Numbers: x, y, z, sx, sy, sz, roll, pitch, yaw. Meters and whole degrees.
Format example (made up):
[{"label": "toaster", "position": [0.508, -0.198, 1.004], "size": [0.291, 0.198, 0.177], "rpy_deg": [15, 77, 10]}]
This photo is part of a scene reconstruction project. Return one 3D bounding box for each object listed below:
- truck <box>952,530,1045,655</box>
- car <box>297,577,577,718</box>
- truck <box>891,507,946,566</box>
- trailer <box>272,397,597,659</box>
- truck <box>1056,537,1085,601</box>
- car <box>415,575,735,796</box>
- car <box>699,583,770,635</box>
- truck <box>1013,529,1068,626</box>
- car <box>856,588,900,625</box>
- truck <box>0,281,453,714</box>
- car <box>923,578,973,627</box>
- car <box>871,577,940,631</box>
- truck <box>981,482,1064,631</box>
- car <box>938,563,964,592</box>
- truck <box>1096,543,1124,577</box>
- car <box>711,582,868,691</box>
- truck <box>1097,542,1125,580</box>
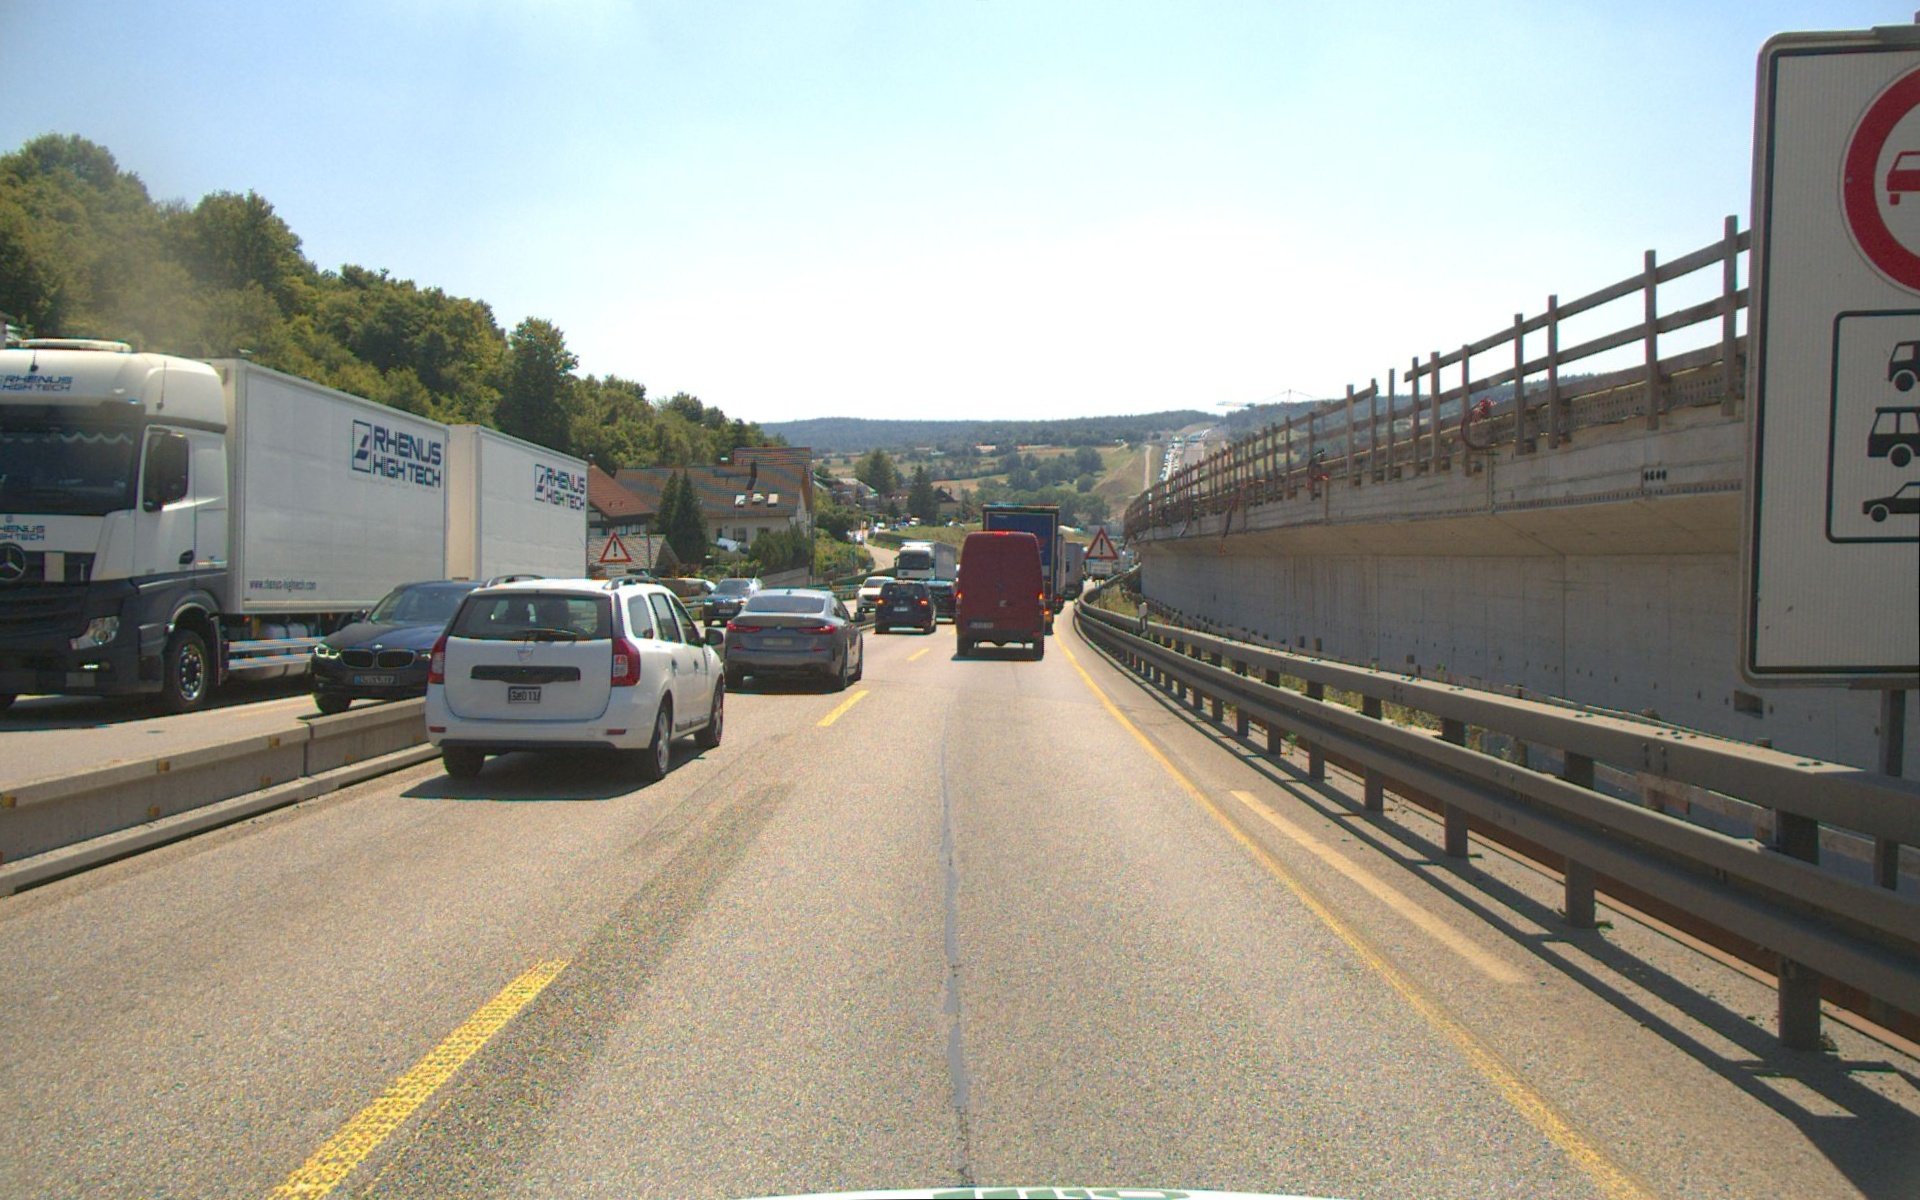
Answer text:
[{"label": "truck", "position": [0.868, -0.143, 36.996], "size": [1.952, 2.624, 4.001], "rpy_deg": [0, -1, 2]}, {"label": "car", "position": [-6.169, 0.489, 20.114], "size": [1.744, 1.504, 4.622], "rpy_deg": [0, 1, 3]}, {"label": "truck", "position": [-3.014, -4.588, 121.406], "size": [3.069, 4.150, 6.884], "rpy_deg": [0, 1, 7]}, {"label": "trailer", "position": [-9.509, -1.204, 31.311], "size": [2.941, 4.238, 9.020], "rpy_deg": [0, 0, 2]}, {"label": "truck", "position": [7.956, -2.206, 119.710], "size": [1.952, 4.458, 4.001], "rpy_deg": [0, -1, 2]}, {"label": "car", "position": [-3.013, 0.613, 13.815], "size": [1.618, 1.509, 4.266], "rpy_deg": [-2, 0, 0]}, {"label": "car", "position": [-8.060, 0.334, 59.410], "size": [1.866, 1.773, 4.662], "rpy_deg": [0, -1, 0]}, {"label": "truck", "position": [4.280, -1.075, 88.373], "size": [2.728, 4.900, 9.688], "rpy_deg": [0, -1, 3]}, {"label": "car", "position": [-3.898, 0.335, 79.252], "size": [1.713, 1.716, 4.388], "rpy_deg": [0, -1, 2]}, {"label": "truck", "position": [-9.790, -1.079, 21.479], "size": [2.916, 4.235, 10.547], "rpy_deg": [0, 1, 1]}, {"label": "car", "position": [-0.431, 0.129, 65.240], "size": [1.693, 1.870, 4.002], "rpy_deg": [0, -1, 4]}, {"label": "car", "position": [-1.681, 0.126, 52.271], "size": [1.772, 1.636, 3.721], "rpy_deg": [0, -1, 4]}, {"label": "truck", "position": [2.282, -1.385, 59.310], "size": [2.728, 4.900, 9.688], "rpy_deg": [0, -1, 3]}, {"label": "car", "position": [-0.827, -2.062, 151.141], "size": [1.963, 2.649, 5.982], "rpy_deg": [0, 1, 3]}, {"label": "truck", "position": [21.048, -5.631, 232.492], "size": [3.395, 4.458, 8.559], "rpy_deg": [0, -1, 2]}, {"label": "car", "position": [-2.464, 0.495, 24.833], "size": [1.757, 1.511, 4.051], "rpy_deg": [0, 0, 3]}, {"label": "truck", "position": [18.762, -4.845, 206.501], "size": [3.005, 4.458, 8.559], "rpy_deg": [0, -1, 2]}]
